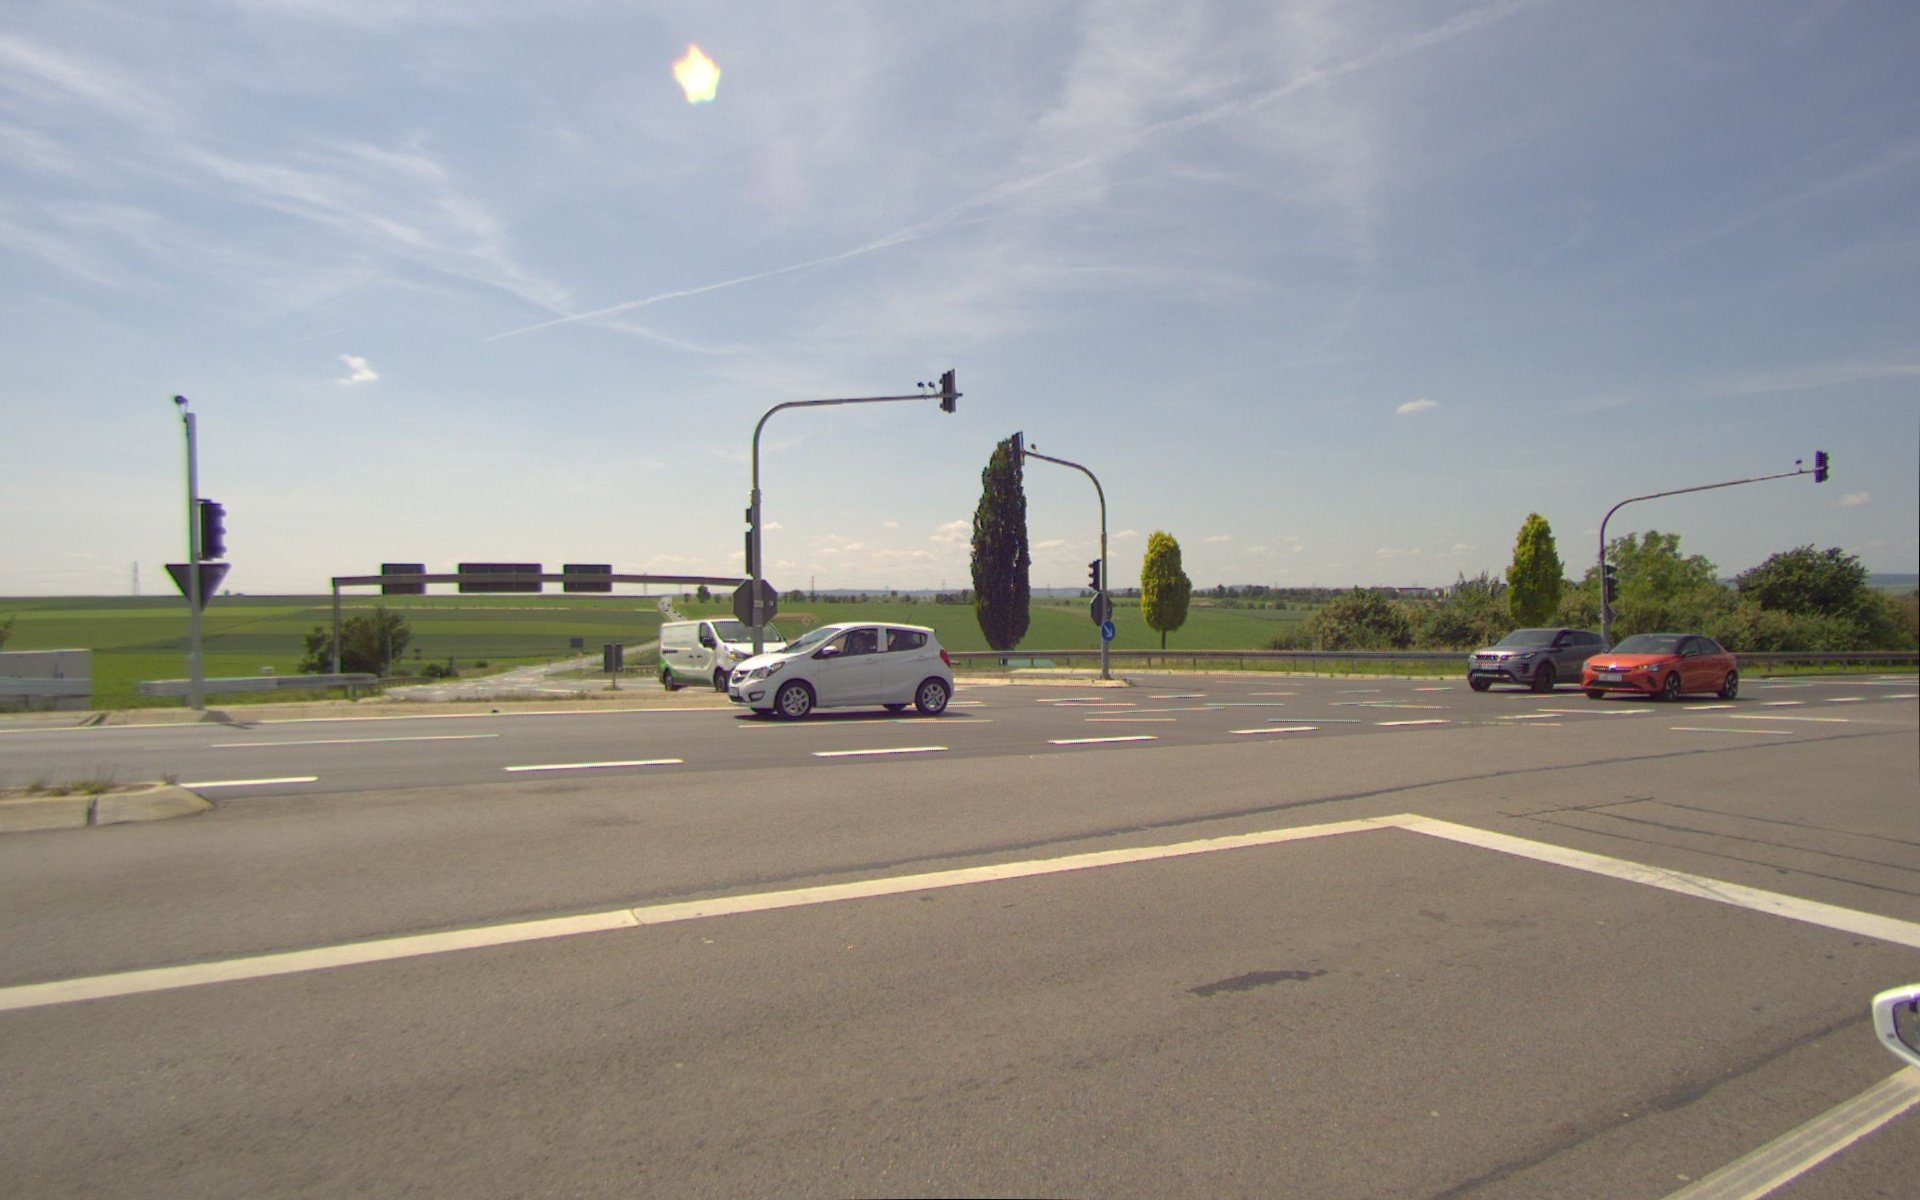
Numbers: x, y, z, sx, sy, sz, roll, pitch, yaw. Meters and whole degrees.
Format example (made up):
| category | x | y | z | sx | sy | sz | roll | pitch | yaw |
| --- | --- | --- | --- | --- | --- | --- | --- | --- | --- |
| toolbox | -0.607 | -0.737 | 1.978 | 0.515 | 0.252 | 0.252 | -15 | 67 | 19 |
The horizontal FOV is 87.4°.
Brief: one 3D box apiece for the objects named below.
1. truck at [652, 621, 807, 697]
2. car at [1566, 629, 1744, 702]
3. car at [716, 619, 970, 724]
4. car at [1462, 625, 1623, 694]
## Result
| category | x | y | z | sx | sy | sz | roll | pitch | yaw |
| --- | --- | --- | --- | --- | --- | --- | --- | --- | --- |
| truck | -6.119 | 1.502 | 26.152 | 1.982 | 1.779 | 5.228 | 2 | -3 | -37 |
| car | 15.572 | 1.430 | 22.483 | 4.016 | 1.516 | 1.638 | 1 | -3 | -29 |
| car | -1.869 | 1.130 | 16.254 | 3.755 | 1.516 | 1.637 | 2 | -3 | -29 |
| car | 15.003 | 1.527 | 25.828 | 4.276 | 1.645 | 1.637 | 2 | -3 | -29 |
